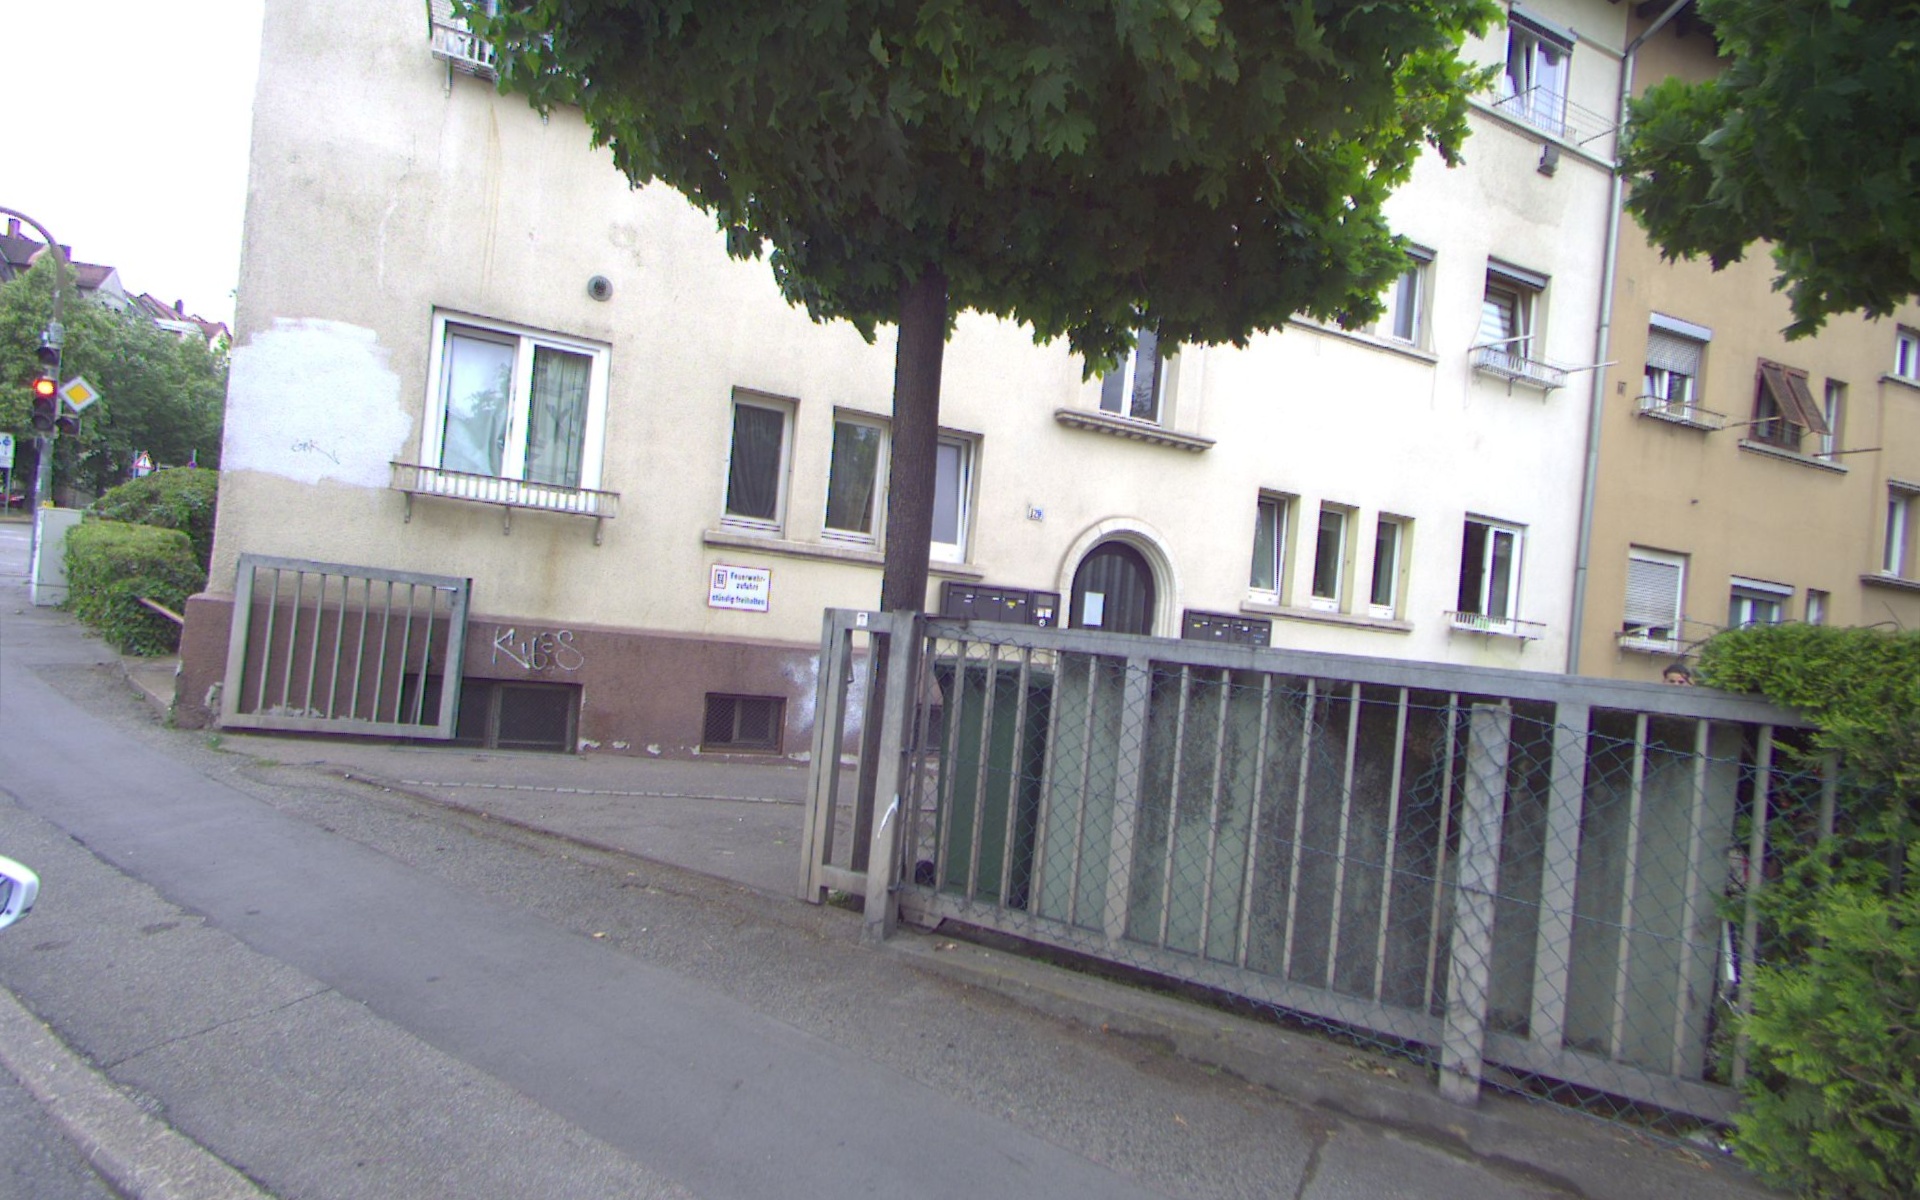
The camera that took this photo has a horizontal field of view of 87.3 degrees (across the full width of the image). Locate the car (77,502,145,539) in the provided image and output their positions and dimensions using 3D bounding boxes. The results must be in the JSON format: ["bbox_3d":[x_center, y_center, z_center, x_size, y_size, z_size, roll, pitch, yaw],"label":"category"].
[{"bbox_3d":[-63.386,-5.891,75.214,1.968,2.036,3.995,8,-3,-11],"label":"car"}]

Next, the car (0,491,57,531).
[{"bbox_3d":[-60.866,-5.768,64.988,1.970,2.036,3.991,9,-3,-15],"label":"car"}]

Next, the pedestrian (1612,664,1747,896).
[{"bbox_3d":[5.913,1.444,8.305,0.684,1.760,0.466,7,1,29],"label":"pedestrian"}]
